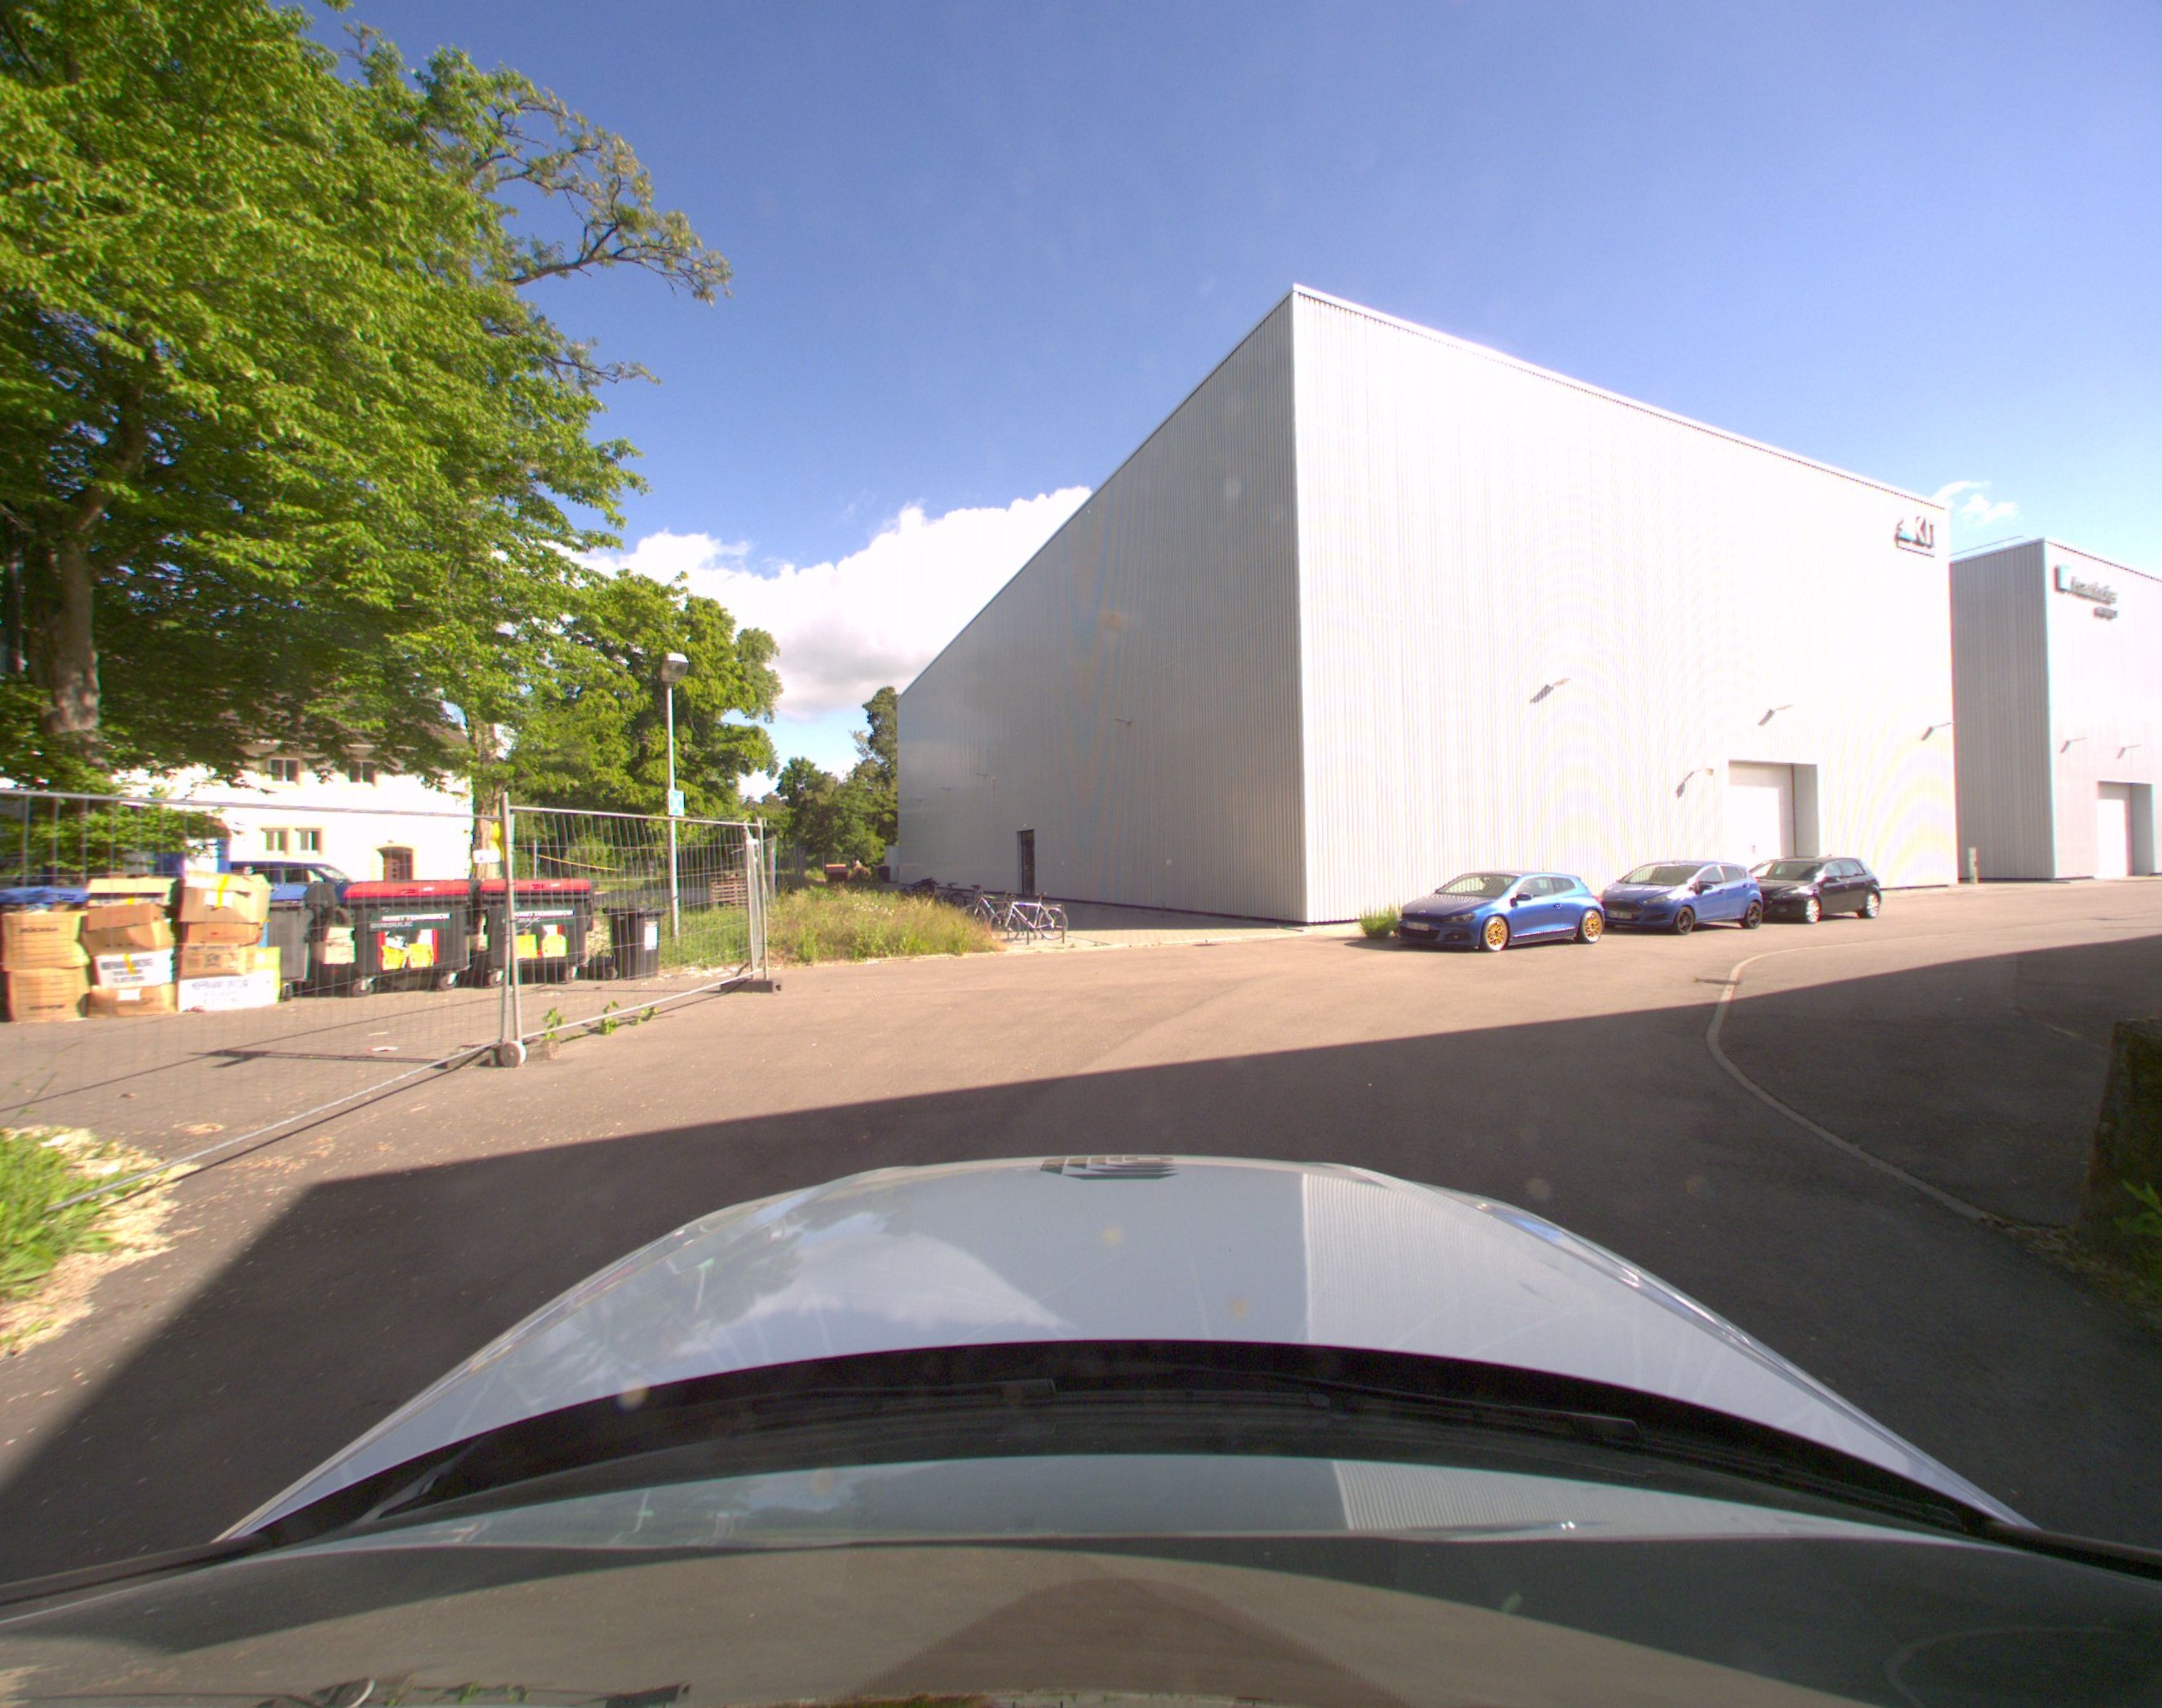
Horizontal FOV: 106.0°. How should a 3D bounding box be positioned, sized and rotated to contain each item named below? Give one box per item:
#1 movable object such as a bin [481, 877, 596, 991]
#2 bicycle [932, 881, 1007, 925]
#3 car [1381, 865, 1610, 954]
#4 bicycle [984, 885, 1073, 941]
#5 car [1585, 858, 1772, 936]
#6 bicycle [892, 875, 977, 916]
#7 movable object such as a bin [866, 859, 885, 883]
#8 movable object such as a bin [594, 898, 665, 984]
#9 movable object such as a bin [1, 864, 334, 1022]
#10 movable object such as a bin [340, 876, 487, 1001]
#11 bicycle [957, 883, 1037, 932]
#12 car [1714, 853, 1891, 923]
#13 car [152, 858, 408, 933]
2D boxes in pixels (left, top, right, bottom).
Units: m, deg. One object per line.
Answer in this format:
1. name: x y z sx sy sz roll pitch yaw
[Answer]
1. movable object such as a bin: -7.392 1.054 11.157 1.252 1.444 0.696 0 -1 -29
2. bicycle: -2.959 1.281 21.674 1.897 1.095 0.521 -1 -2 -25
3. car: 7.598 0.932 14.918 3.959 1.350 1.660 -1 1 -25
4. bicycle: -1.076 1.214 16.948 1.810 1.062 0.455 -1 -1 -29
5. car: 12.696 0.833 17.295 3.771 1.447 1.611 -1 0 -25
6. bicycle: -4.845 1.352 26.940 2.638 1.266 1.133 -1 -1 -20
7. movable object such as a bin: -17.924 1.487 71.021 1.423 2.014 1.118 -1 -1 -19
8. movable object such as a bin: -6.340 1.196 11.471 0.738 1.097 0.814 -1 -1 -20
9. movable object such as a bin: -10.396 0.934 9.467 2.302 1.591 1.163 0 -1 -29
10. movable object such as a bin: -8.608 1.040 10.578 1.346 1.484 0.799 0 -1 -30
11. bicycle: -1.988 1.245 19.334 1.799 1.082 0.521 -1 -1 -22
12. car: 17.122 0.750 19.330 3.882 1.446 1.643 0 2 -24
13. car: -22.225 1.091 22.928 4.736 1.902 1.982 0 -1 -28
